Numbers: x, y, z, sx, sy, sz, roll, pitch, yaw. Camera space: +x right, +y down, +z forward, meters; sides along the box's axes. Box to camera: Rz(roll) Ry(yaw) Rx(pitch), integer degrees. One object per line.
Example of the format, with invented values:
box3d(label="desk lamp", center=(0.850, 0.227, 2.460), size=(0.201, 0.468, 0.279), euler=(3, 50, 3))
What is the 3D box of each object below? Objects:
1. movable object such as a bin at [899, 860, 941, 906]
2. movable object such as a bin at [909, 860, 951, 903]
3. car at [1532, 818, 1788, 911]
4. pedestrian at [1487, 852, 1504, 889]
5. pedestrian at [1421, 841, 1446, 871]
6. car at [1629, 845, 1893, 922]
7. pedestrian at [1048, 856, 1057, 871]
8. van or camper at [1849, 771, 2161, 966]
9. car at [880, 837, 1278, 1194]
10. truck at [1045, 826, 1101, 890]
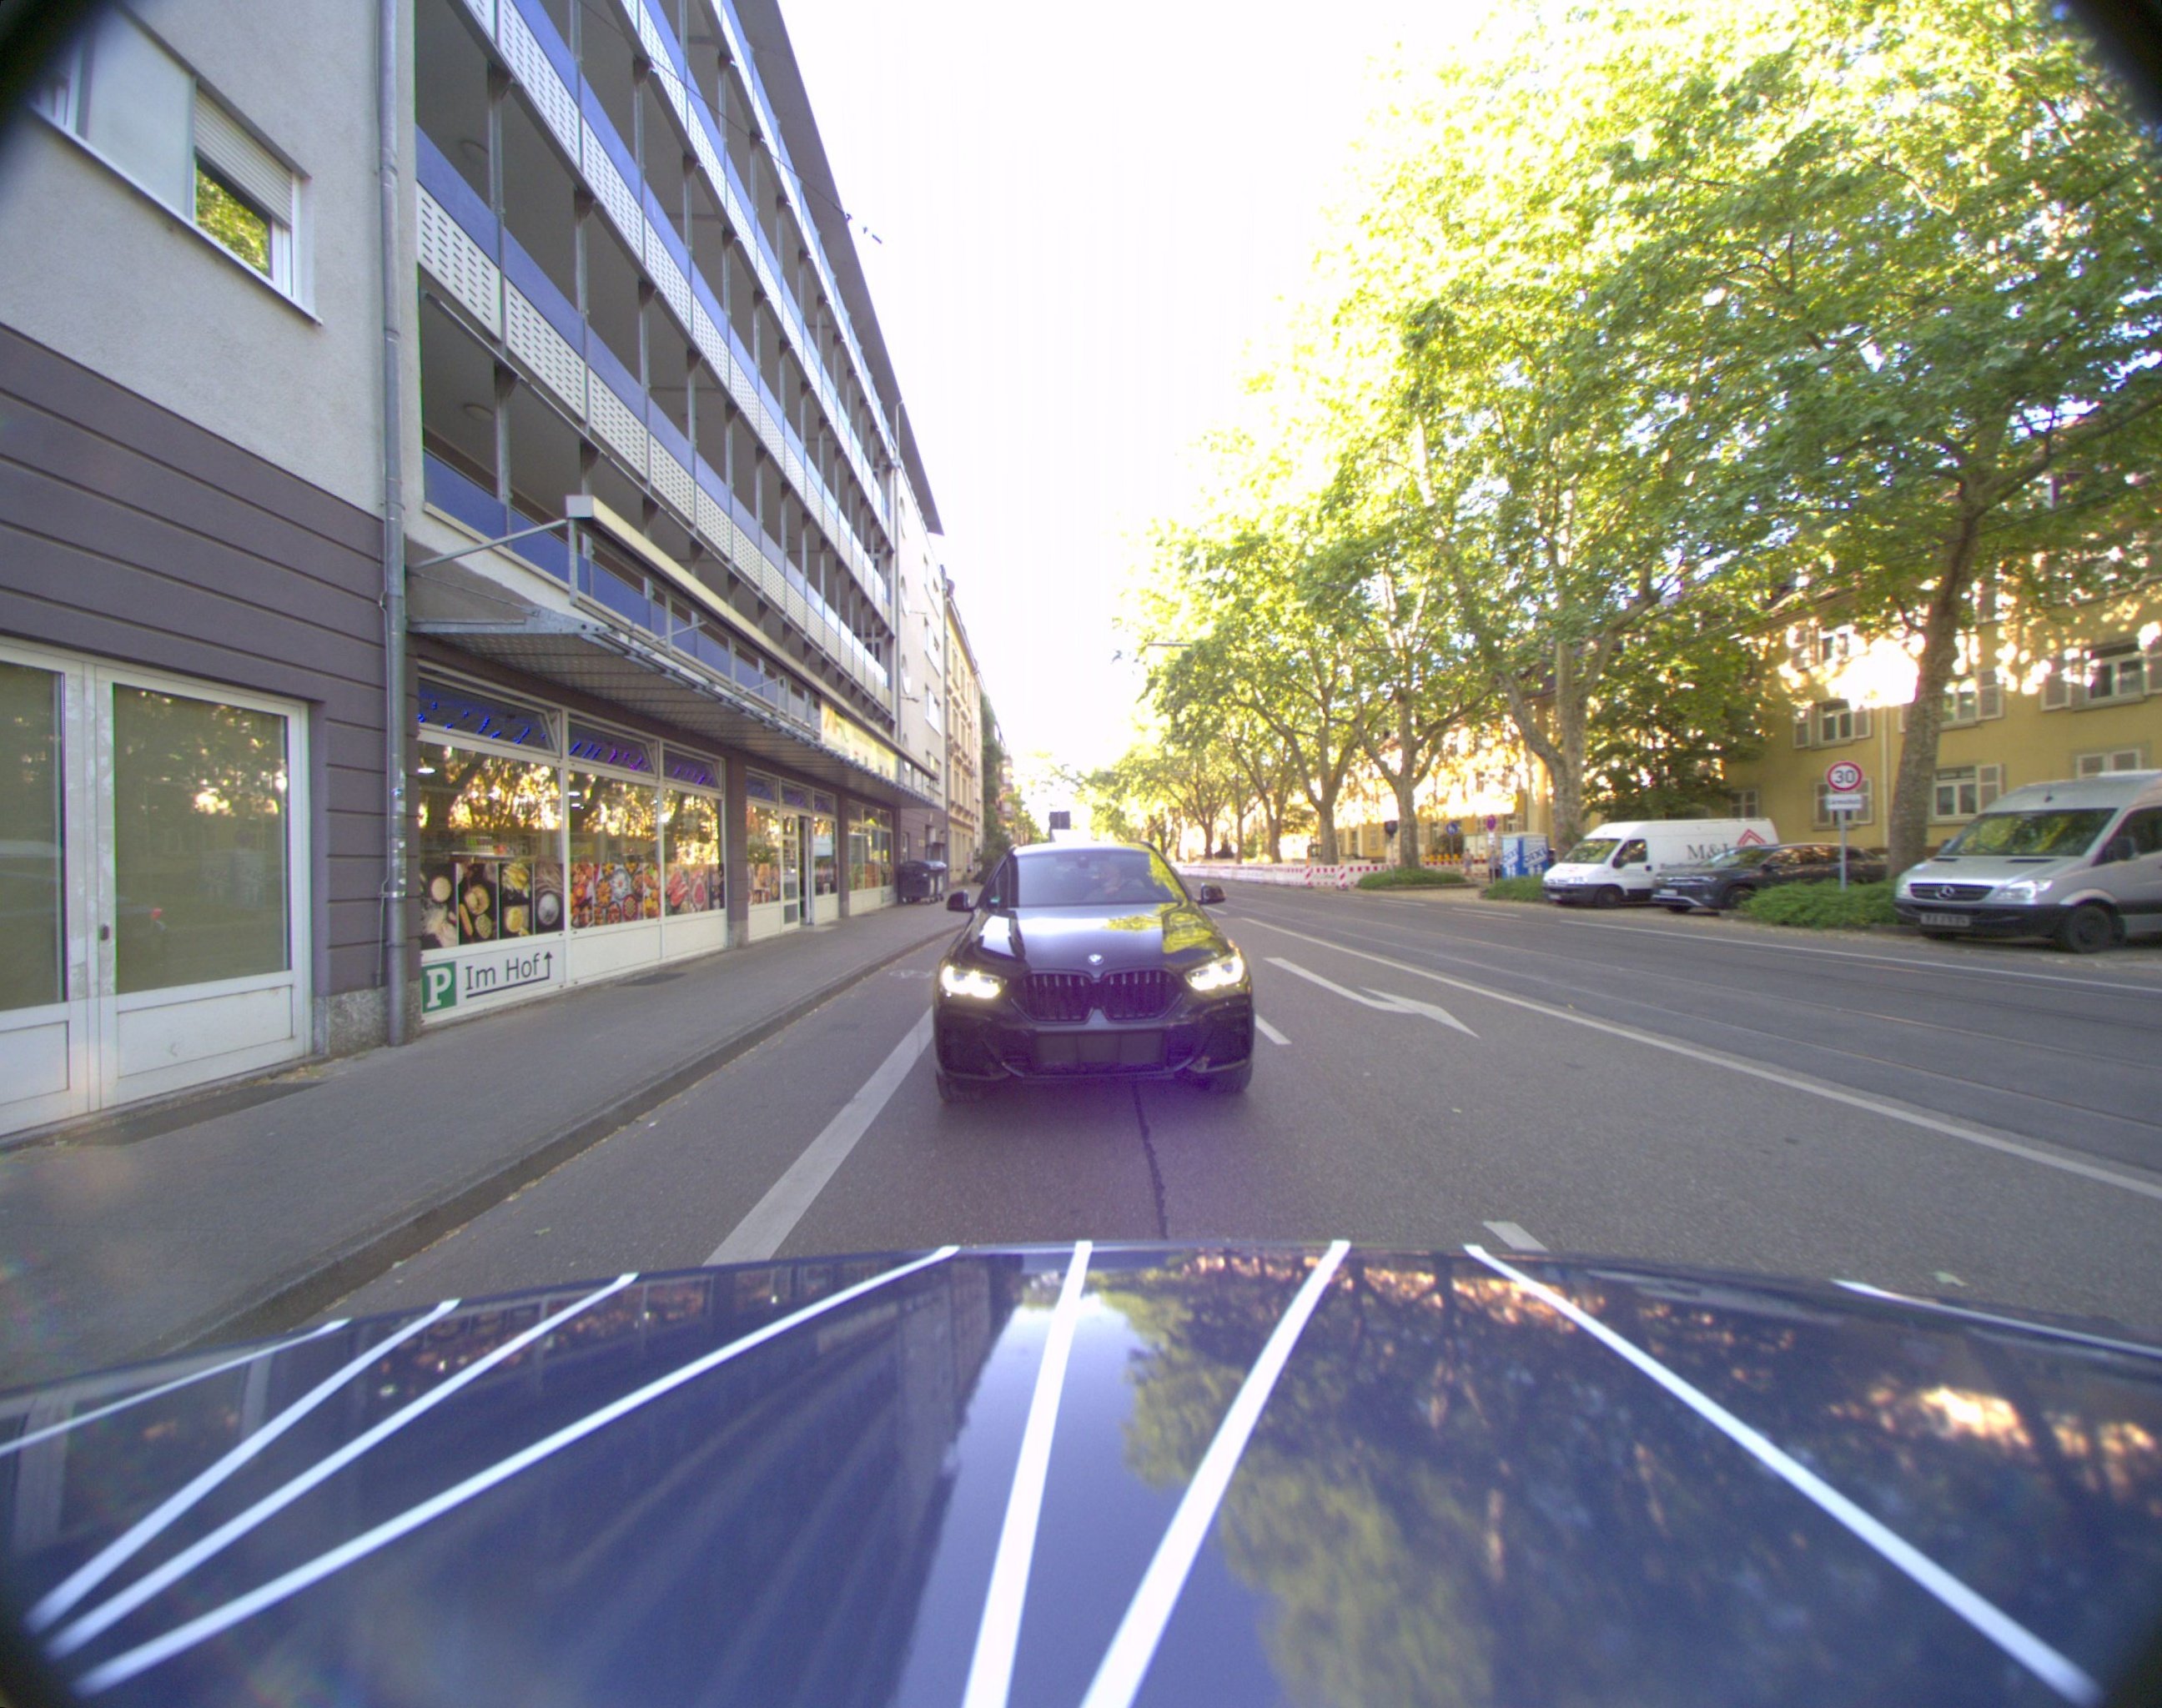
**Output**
box3d(label="movable object such as a bin", center=(-5.235, 0.937, 24.814), size=(1.069, 1.438, 1.296), euler=(-1, 0, -1))
box3d(label="movable object such as a bin", center=(-5.295, 0.957, 26.710), size=(1.122, 1.437, 1.306), euler=(-1, 0, 4))
box3d(label="car", center=(15.844, 0.282, 21.004), size=(5.612, 2.361, 2.025), euler=(-1, 0, -2))
box3d(label="pedestrian", center=(17.846, 0.697, 32.698), size=(0.595, 1.563, 0.719), euler=(-1, 0, 31))
box3d(label="pedestrian", center=(24.033, 0.109, 51.792), size=(1.098, 2.002, 1.235), euler=(-1, 0, -4))
box3d(label="car", center=(15.933, 0.664, 17.977), size=(4.575, 1.621, 1.969), euler=(-1, 0, -2))
box3d(label="pedestrian", center=(-3.391, 1.132, 89.818), size=(0.876, 1.728, 0.848), euler=(-3, 1, 1))
box3d(label="van or camper", center=(16.082, 0.135, 11.804), size=(6.127, 2.661, 2.229), euler=(-2, 0, -2))
box3d(label="car", center=(0.014, 0.827, 6.061), size=(1.943, 1.733, 4.475), euler=(-2, 0, 1))
box3d(label="truck", center=(-0.584, 0.209, 43.159), size=(2.385, 3.165, 8.525), euler=(2, 0, -5))
